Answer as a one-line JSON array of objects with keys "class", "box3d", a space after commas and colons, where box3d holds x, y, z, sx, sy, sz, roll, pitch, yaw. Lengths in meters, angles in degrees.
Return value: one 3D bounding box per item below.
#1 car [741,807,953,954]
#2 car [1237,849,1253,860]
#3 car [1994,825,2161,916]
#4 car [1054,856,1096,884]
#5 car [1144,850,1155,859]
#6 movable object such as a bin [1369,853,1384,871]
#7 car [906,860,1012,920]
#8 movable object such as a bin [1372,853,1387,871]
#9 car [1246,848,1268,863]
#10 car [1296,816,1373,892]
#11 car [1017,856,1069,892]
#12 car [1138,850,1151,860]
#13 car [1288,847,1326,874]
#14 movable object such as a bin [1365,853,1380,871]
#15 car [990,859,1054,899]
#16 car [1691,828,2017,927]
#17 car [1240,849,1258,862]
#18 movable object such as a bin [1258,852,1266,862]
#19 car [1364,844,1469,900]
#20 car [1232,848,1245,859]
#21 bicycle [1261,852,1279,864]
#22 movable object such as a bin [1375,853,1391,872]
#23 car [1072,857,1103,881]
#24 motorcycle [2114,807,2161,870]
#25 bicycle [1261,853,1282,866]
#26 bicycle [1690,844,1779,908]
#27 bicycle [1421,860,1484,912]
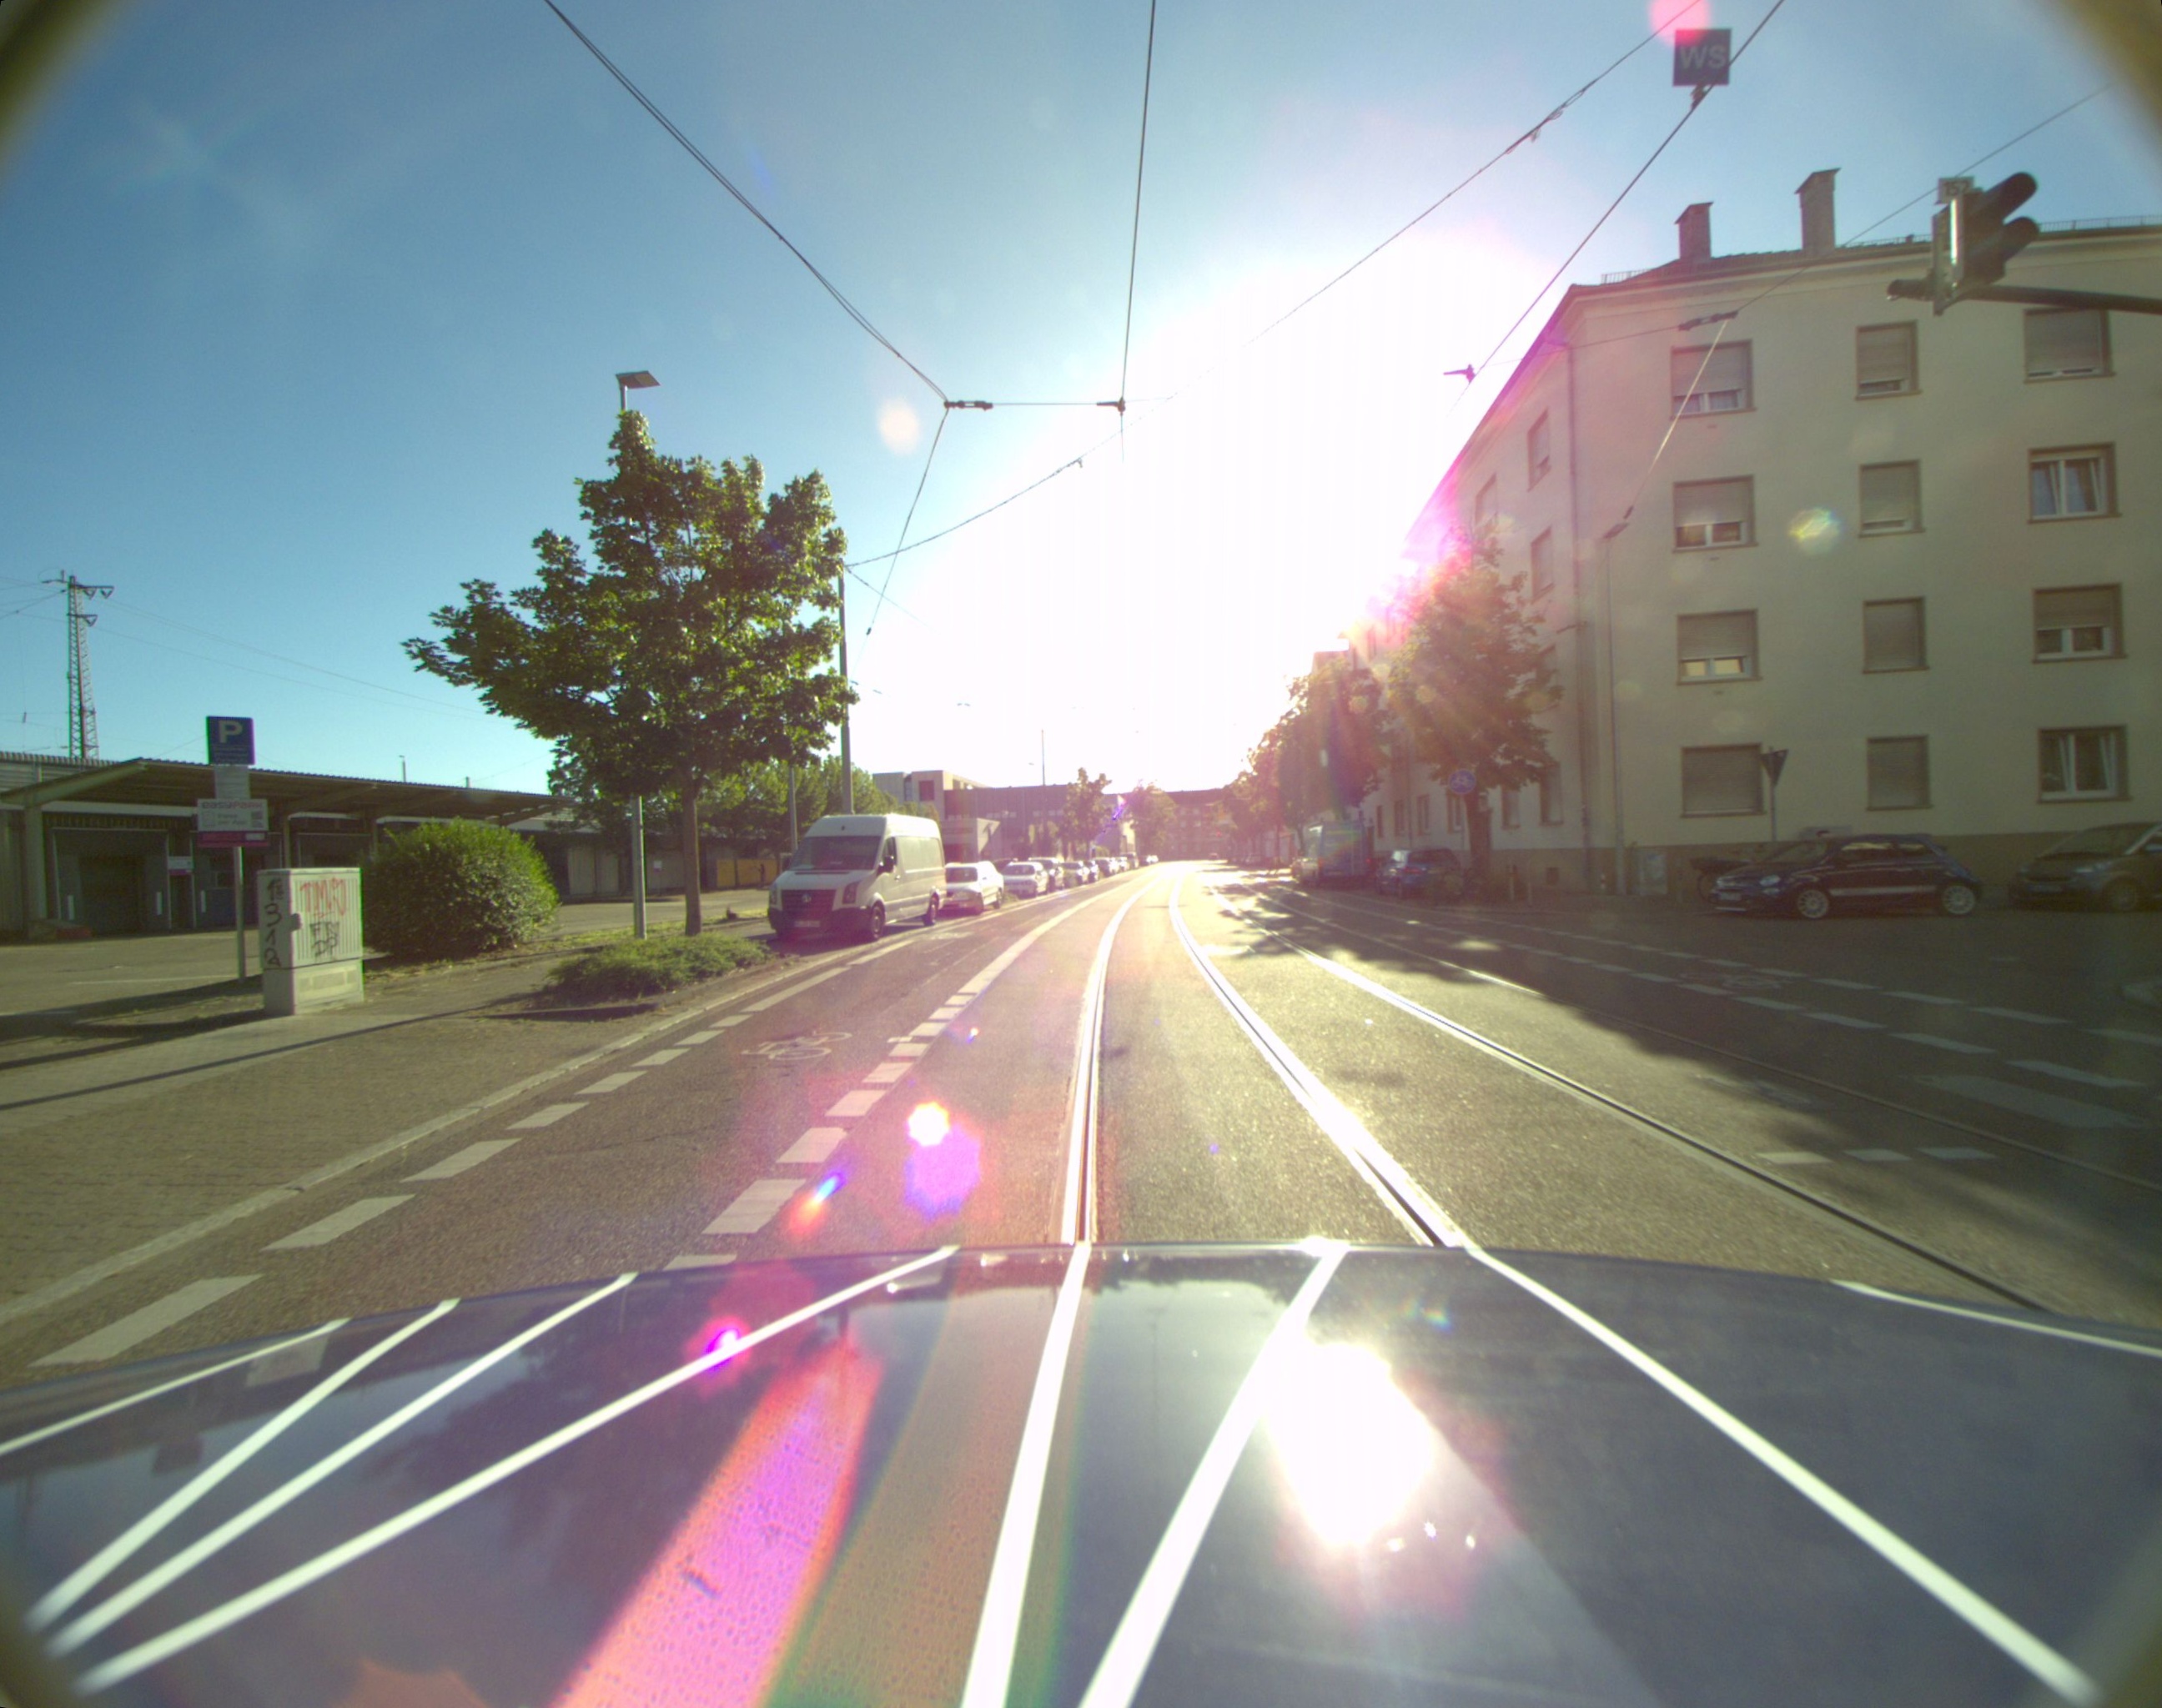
[{"class": "car", "box3d": [-4.774, 0.451, 16.853, 2.184, 2.650, 6.093, 0, 1, 7]}, {"class": "car", "box3d": [23.135, 0.095, 107.377, 1.877, 1.420, 4.295, -3, 0, 8]}, {"class": "car", "box3d": [18.682, 0.238, 13.212, 3.515, 1.449, 1.579, -2, 1, 4]}, {"class": "car", "box3d": [-0.309, 0.931, 45.469, 1.731, 1.455, 4.501, -3, 0, 9]}, {"class": "car", "box3d": [11.863, 0.138, 131.622, 1.715, 1.481, 4.626, -2, 0, 8]}, {"class": "movable object such as a bin", "box3d": [15.369, 0.401, 39.551, 0.597, 0.929, 0.569, -2, 1, 6]}, {"class": "car", "box3d": [-3.595, 1.024, 23.295, 1.914, 1.521, 4.603, -2, 0, 7]}, {"class": "movable object such as a bin", "box3d": [15.300, 0.408, 38.945, 0.597, 0.929, 0.569, -2, 1, 6]}, {"class": "car", "box3d": [19.548, 0.163, 84.494, 1.868, 1.482, 4.664, -3, 0, 8]}, {"class": "car", "box3d": [10.577, -0.048, 32.210, 2.021, 2.809, 6.035, -3, 0, 9]}, {"class": "car", "box3d": [-1.785, 0.925, 37.148, 1.731, 1.595, 4.345, 0, 1, 8]}, {"class": "car", "box3d": [9.900, 0.134, 118.455, 1.705, 1.473, 4.661, 0, 1, 8]}, {"class": "car", "box3d": [13.925, 0.352, 47.012, 1.654, 1.482, 4.002, -3, 0, 9]}, {"class": "movable object such as a bin", "box3d": [15.411, 0.396, 40.144, 0.597, 0.929, 0.569, -2, 1, 6]}, {"class": "car", "box3d": [-2.405, 1.000, 32.038, 1.731, 1.503, 4.254, -1, 1, 8]}, {"class": "car", "box3d": [13.745, 0.405, 13.729, 3.895, 1.449, 1.769, -3, 0, 4]}, {"class": "car", "box3d": [20.403, 0.185, 92.417, 1.776, 1.477, 4.307, -3, 0, 8]}, {"class": "movable object such as a bin", "box3d": [18.523, 0.335, 77.664, 0.583, 0.954, 0.702, -8, 0, 9]}, {"class": "car", "box3d": [10.537, 0.494, 24.256, 1.794, 1.551, 4.644, -3, 0, 8]}, {"class": "car", "box3d": [23.515, -0.061, 113.317, 1.575, 1.496, 4.002, -3, 0, 8]}, {"class": "bicycle", "box3d": [17.320, 0.373, 69.527, 1.790, 1.034, 0.667, -4, 1, -44]}, {"class": "movable object such as a bin", "box3d": [15.250, 0.413, 38.344, 0.597, 0.929, 0.569, -2, 1, 6]}, {"class": "car", "box3d": [0.490, 0.984, 52.507, 1.732, 1.455, 4.342, -3, 0, 4]}, {"class": "motorcycle", "box3d": [23.541, -0.356, 16.047, 2.550, 1.299, 0.625, -1, 2, 0]}, {"class": "bicycle", "box3d": [16.495, 0.446, 65.778, 1.990, 1.034, 0.531, -4, 1, -37]}, {"class": "bicycle", "box3d": [13.633, 0.456, 15.857, 1.505, 1.222, 0.397, -3, 4, 0]}, {"class": "bicycle", "box3d": [8.959, 0.743, 18.423, 0.513, 1.127, 2.031, -3, 0, 1]}]
